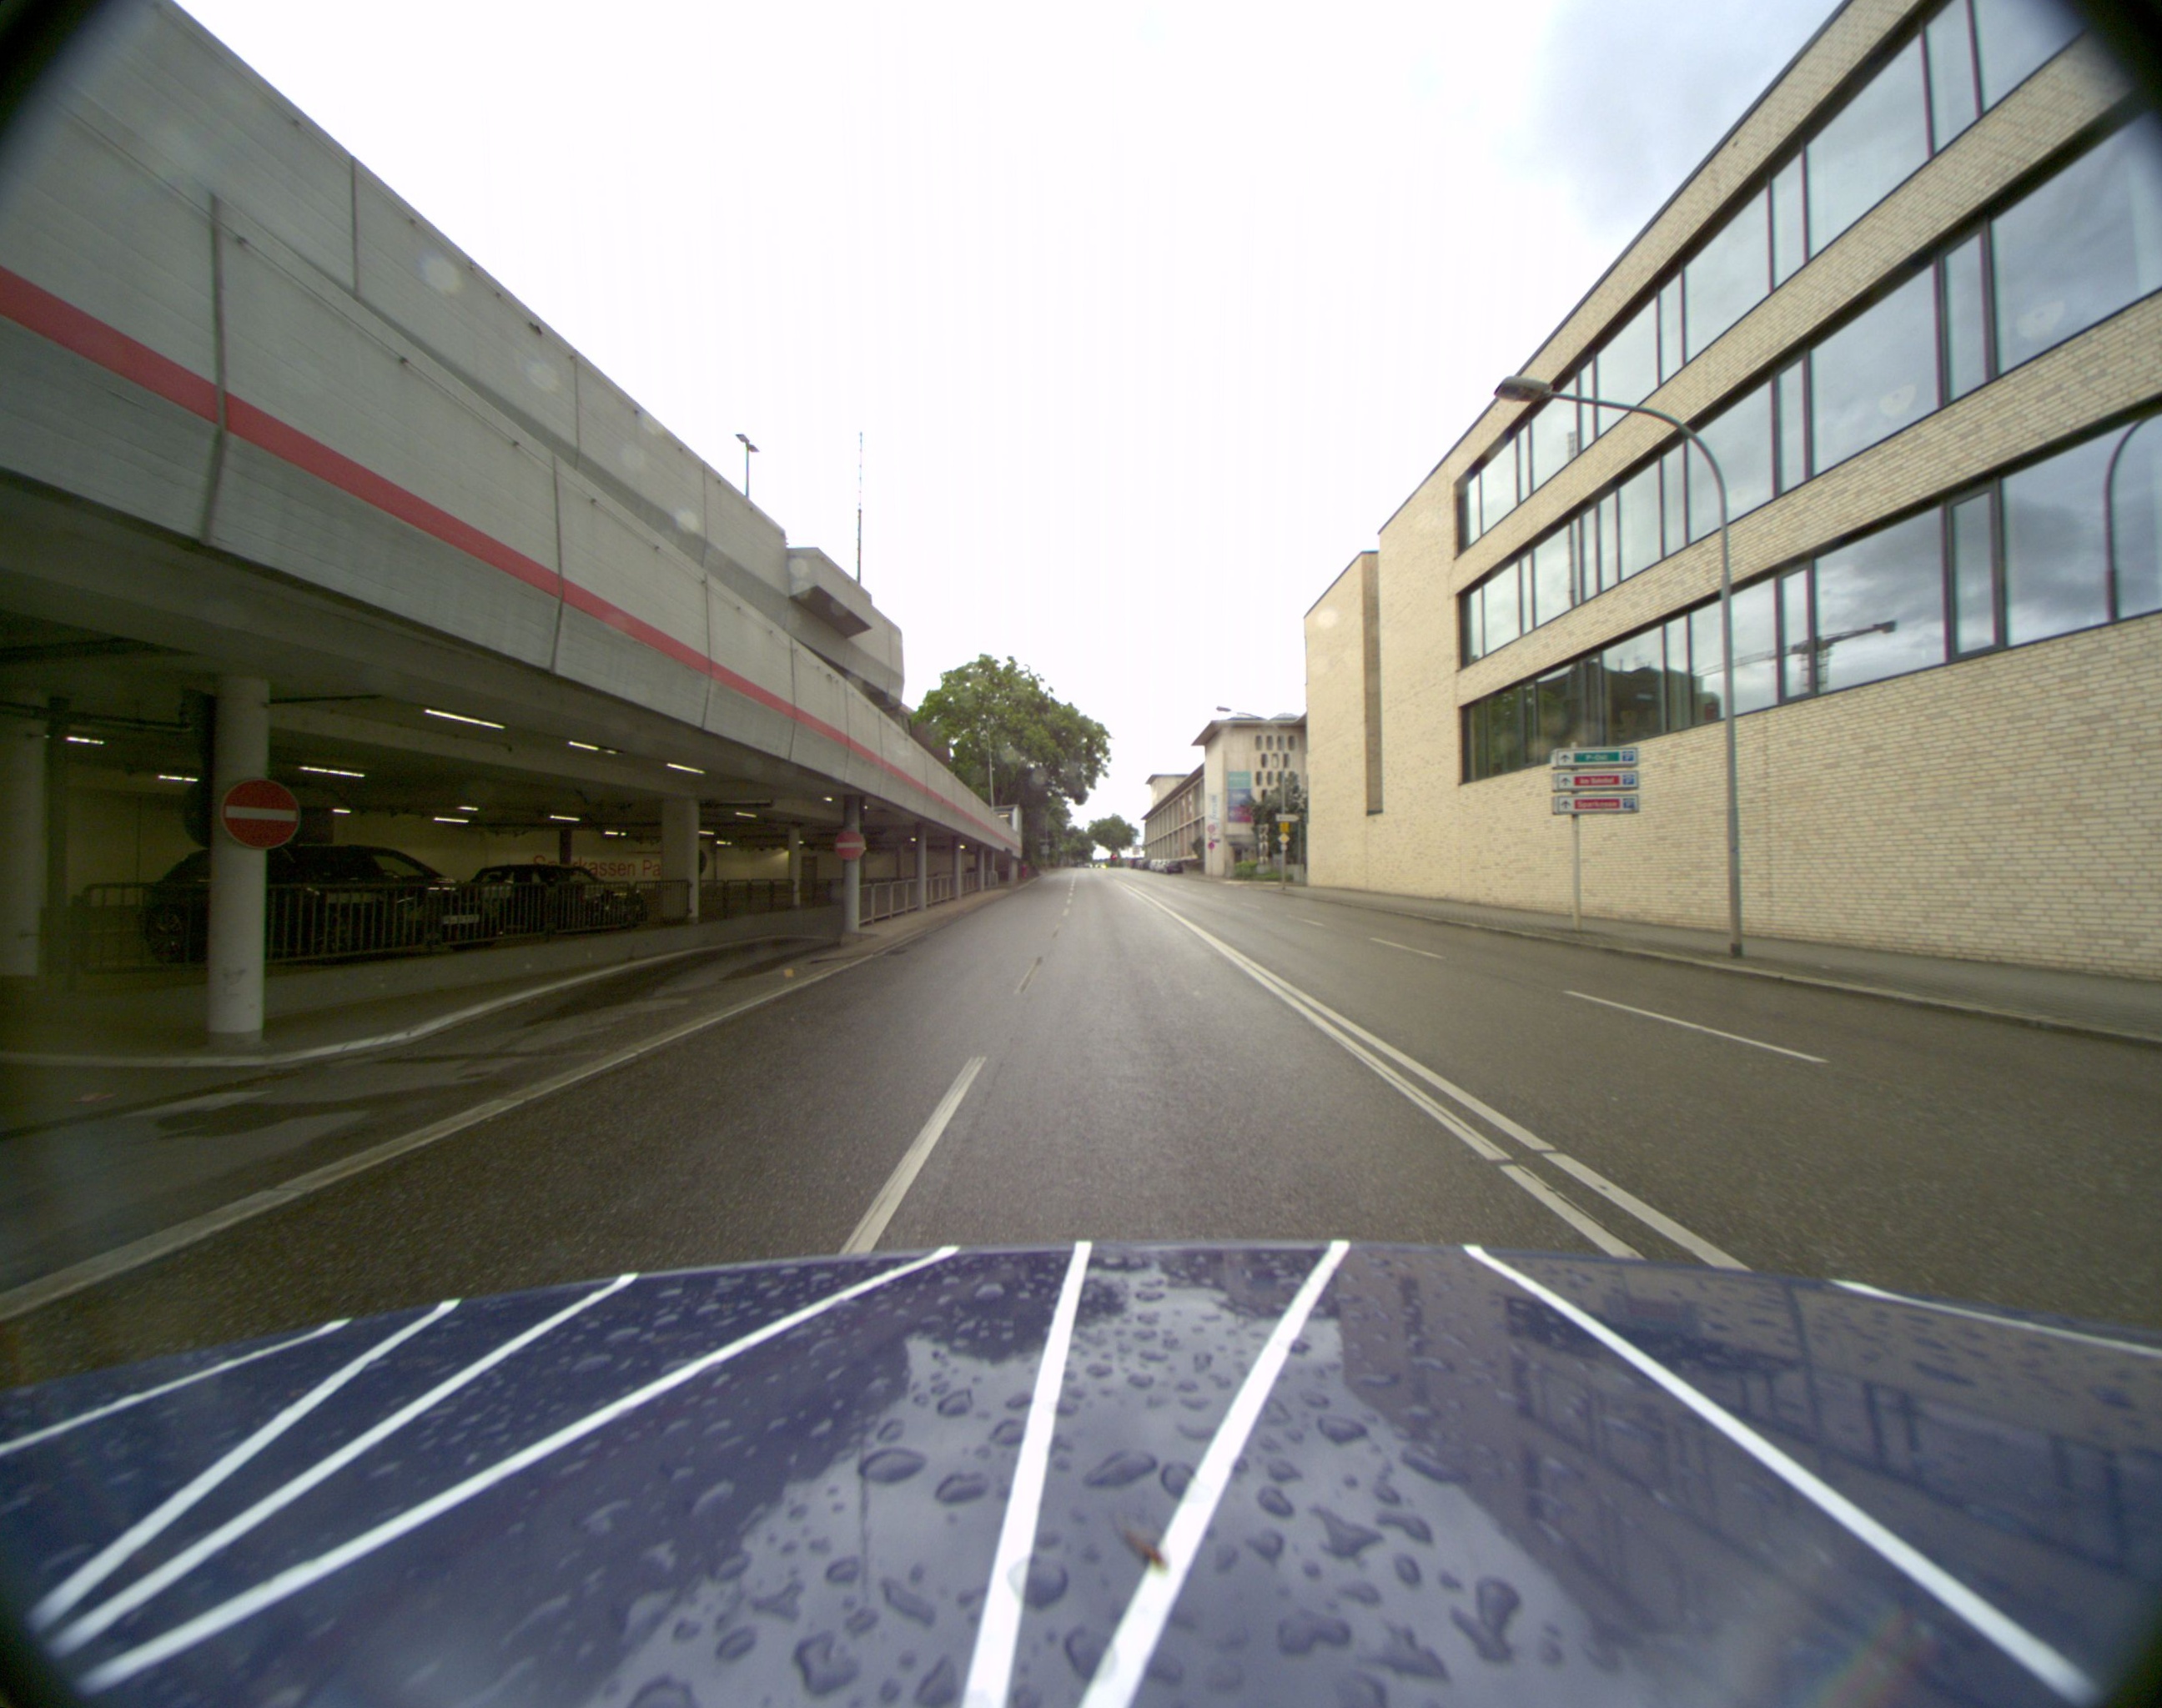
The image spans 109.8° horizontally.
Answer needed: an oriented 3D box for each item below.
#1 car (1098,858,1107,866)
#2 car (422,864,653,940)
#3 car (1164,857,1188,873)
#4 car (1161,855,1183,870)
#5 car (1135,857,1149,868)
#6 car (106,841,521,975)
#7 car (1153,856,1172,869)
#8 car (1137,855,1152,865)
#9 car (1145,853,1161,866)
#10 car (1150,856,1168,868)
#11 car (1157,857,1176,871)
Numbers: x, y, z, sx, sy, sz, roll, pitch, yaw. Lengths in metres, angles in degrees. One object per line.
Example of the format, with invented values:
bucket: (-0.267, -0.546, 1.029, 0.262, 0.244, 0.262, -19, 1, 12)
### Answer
car: (5.780, 2.036, 204.787, 1.805, 2.002, 3.997, -3, 1, -5)
car: (-11.440, 0.967, 16.127, 3.730, 1.496, 1.809, 0, -1, 8)
car: (10.323, 1.194, 82.680, 1.999, 1.520, 3.999, -3, 1, -1)
car: (10.546, 0.960, 87.991, 1.998, 1.632, 3.999, -3, 1, 0)
car: (10.738, 1.556, 134.454, 1.999, 1.637, 3.998, -4, 2, -1)
car: (-10.833, 0.733, 10.858, 4.584, 1.630, 1.823, -2, 1, 11)
car: (10.578, 1.120, 98.459, 1.998, 1.482, 4.185, -3, 1, 1)
car: (10.522, 1.024, 125.877, 1.999, 1.528, 3.999, -3, 1, 0)
car: (10.660, 0.794, 113.184, 1.999, 1.701, 3.999, -1, 1, 0)
car: (10.724, 1.072, 104.663, 1.999, 1.521, 3.999, -4, 1, -1)
car: (10.476, 1.240, 93.519, 1.998, 1.503, 4.000, -3, 1, 1)
